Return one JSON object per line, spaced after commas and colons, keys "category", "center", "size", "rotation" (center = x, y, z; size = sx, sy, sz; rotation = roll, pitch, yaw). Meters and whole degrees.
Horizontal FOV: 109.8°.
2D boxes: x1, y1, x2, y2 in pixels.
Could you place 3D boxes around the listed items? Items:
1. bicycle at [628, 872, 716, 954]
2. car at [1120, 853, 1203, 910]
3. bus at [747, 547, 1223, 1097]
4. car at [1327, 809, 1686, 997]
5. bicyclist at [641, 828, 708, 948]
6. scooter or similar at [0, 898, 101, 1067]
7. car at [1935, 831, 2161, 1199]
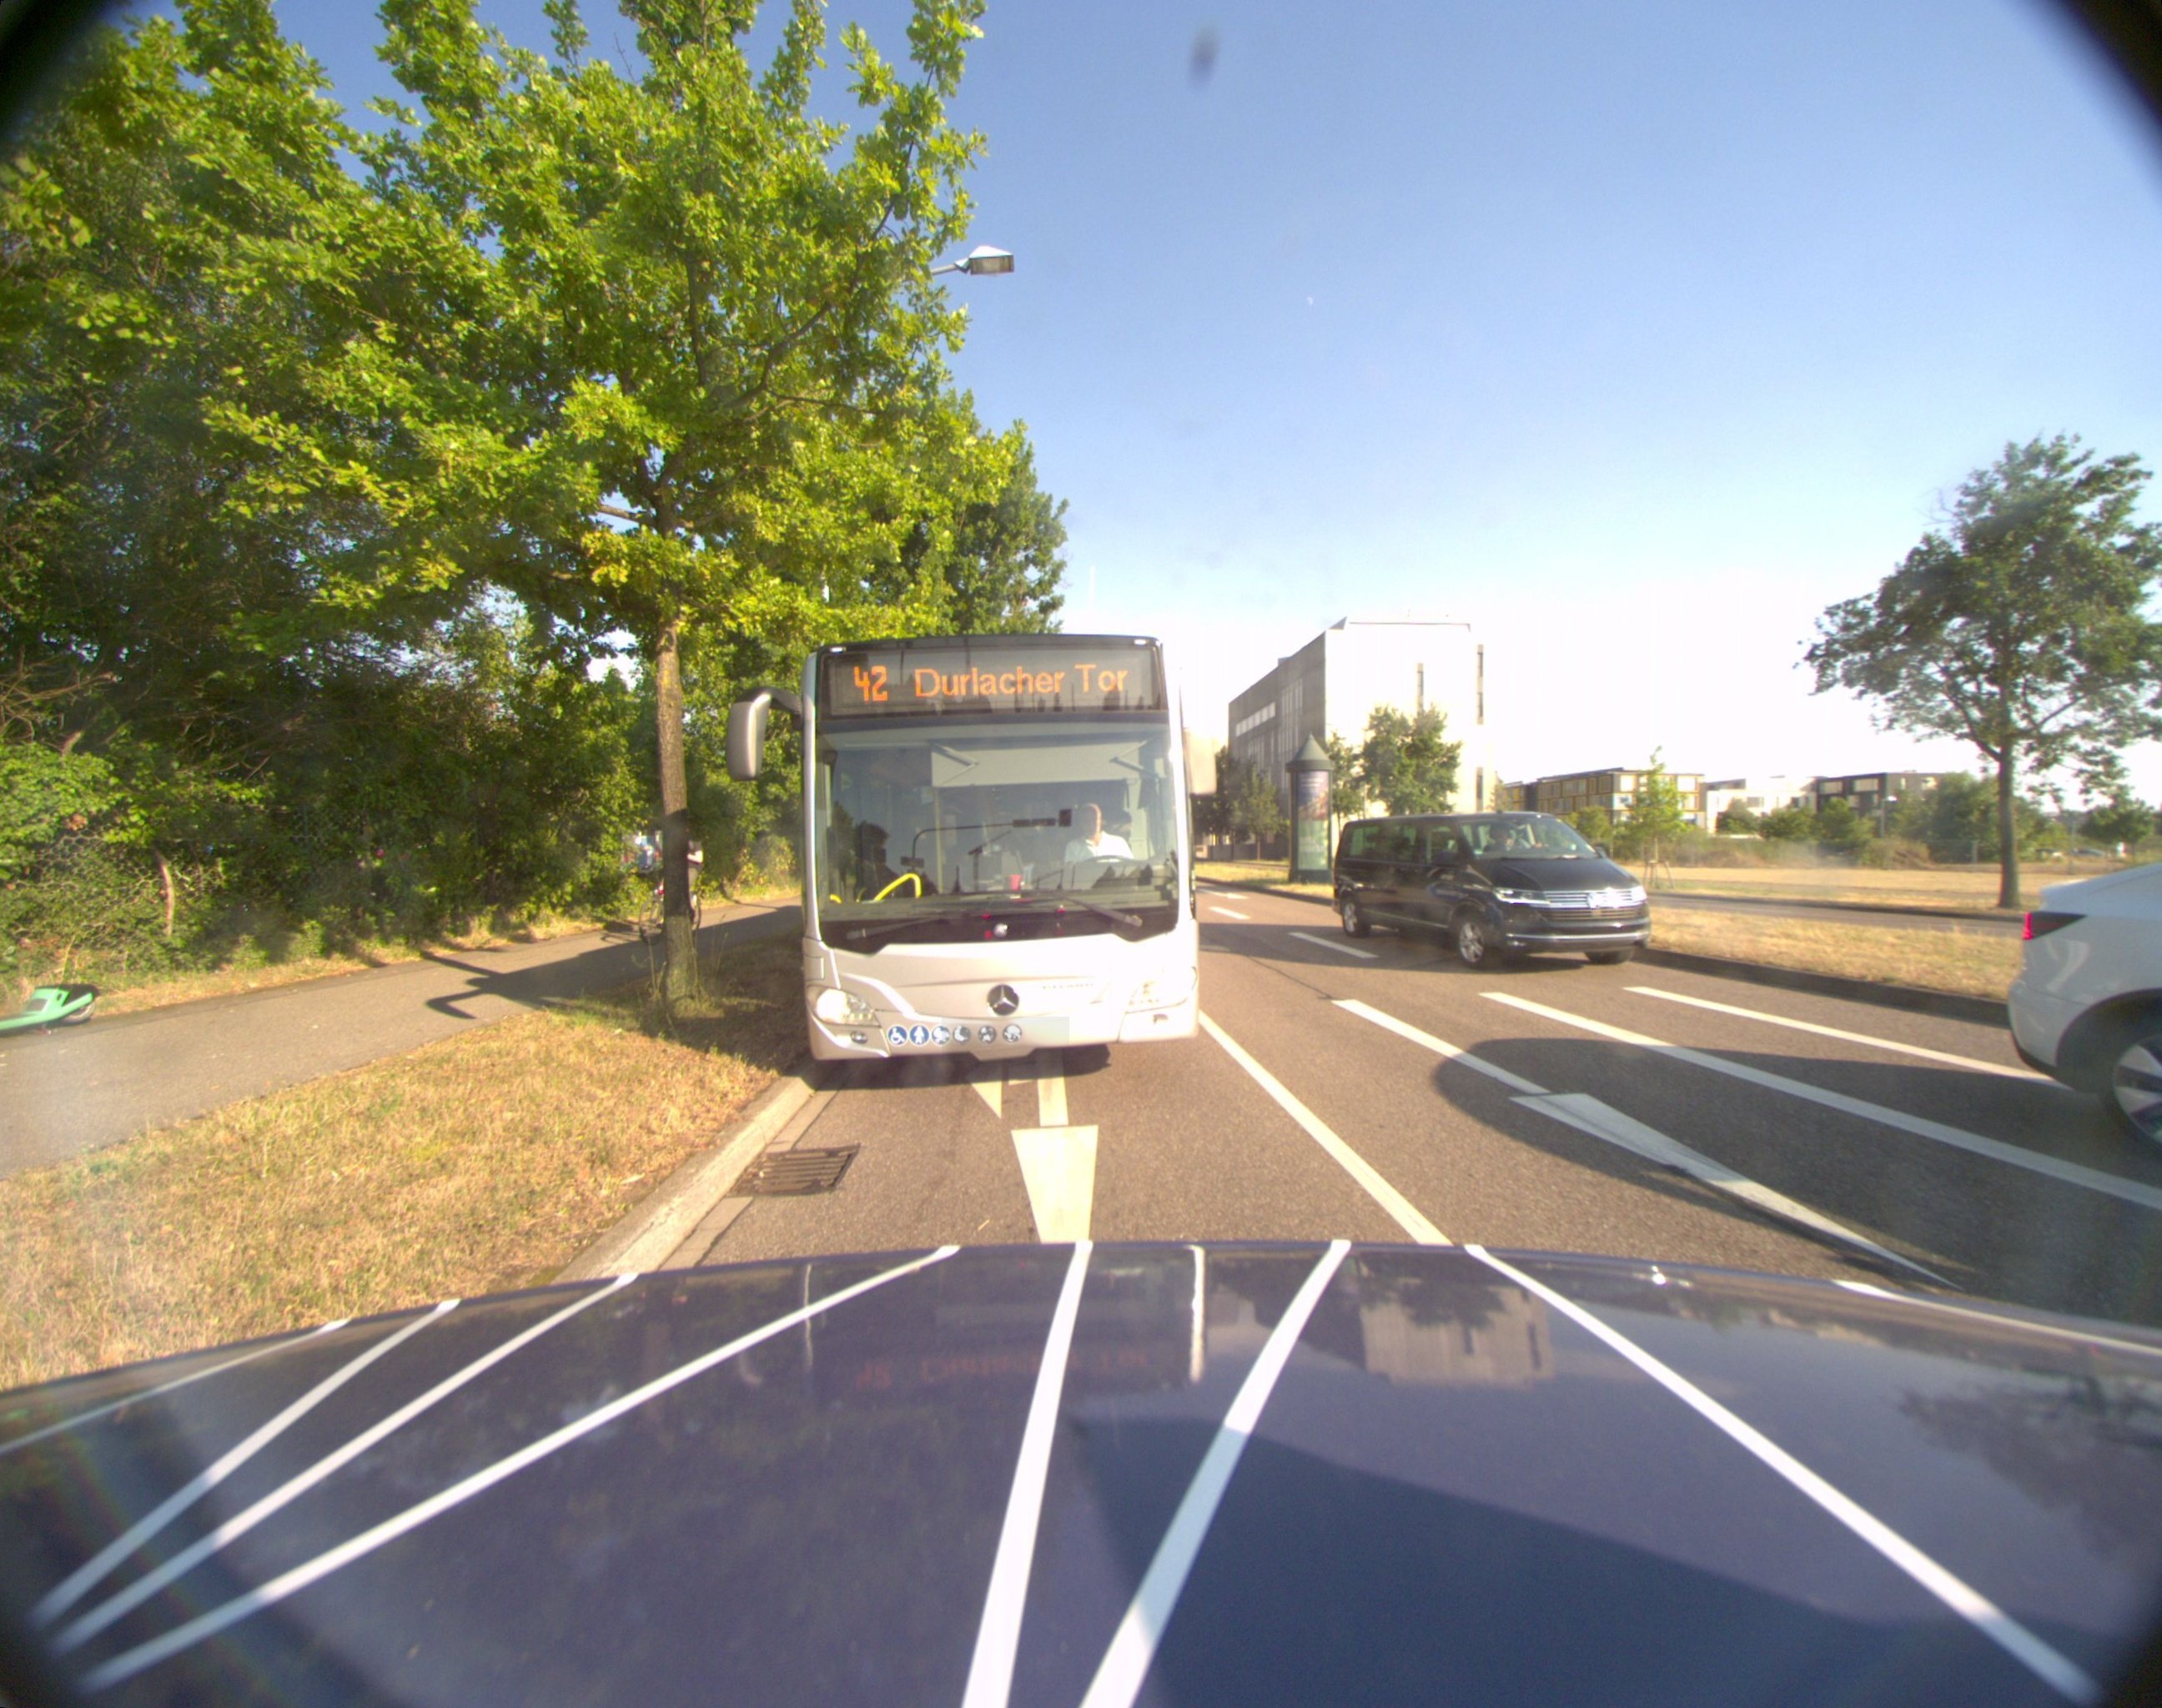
{"category": "bicycle", "center": [-6.353, 0.875, 11.902], "size": [0.416, 1.151, 1.890], "rotation": [2, 0, -3]}
{"category": "car", "center": [2.189, 0.697, 21.714], "size": [1.810, 1.428, 4.493], "rotation": [-1, 0, -1]}
{"category": "bus", "center": [-0.989, -0.220, 10.131], "size": [2.596, 3.025, 11.713], "rotation": [-1, 0, -5]}
{"category": "car", "center": [5.335, 0.485, 10.544], "size": [1.861, 1.921, 5.010], "rotation": [-2, 1, -4]}
{"category": "bicyclist", "center": [-6.401, 0.518, 11.997], "size": [0.620, 1.819, 0.830], "rotation": [1, 1, -2]}
{"category": "scooter or similar", "center": [-7.544, 0.902, 5.189], "size": [0.249, 1.120, 1.095], "rotation": [2, 1, 1]}
{"category": "car", "center": [5.663, 0.692, 1.852], "size": [1.740, 1.590, 4.675], "rotation": [-2, 0, -4]}
